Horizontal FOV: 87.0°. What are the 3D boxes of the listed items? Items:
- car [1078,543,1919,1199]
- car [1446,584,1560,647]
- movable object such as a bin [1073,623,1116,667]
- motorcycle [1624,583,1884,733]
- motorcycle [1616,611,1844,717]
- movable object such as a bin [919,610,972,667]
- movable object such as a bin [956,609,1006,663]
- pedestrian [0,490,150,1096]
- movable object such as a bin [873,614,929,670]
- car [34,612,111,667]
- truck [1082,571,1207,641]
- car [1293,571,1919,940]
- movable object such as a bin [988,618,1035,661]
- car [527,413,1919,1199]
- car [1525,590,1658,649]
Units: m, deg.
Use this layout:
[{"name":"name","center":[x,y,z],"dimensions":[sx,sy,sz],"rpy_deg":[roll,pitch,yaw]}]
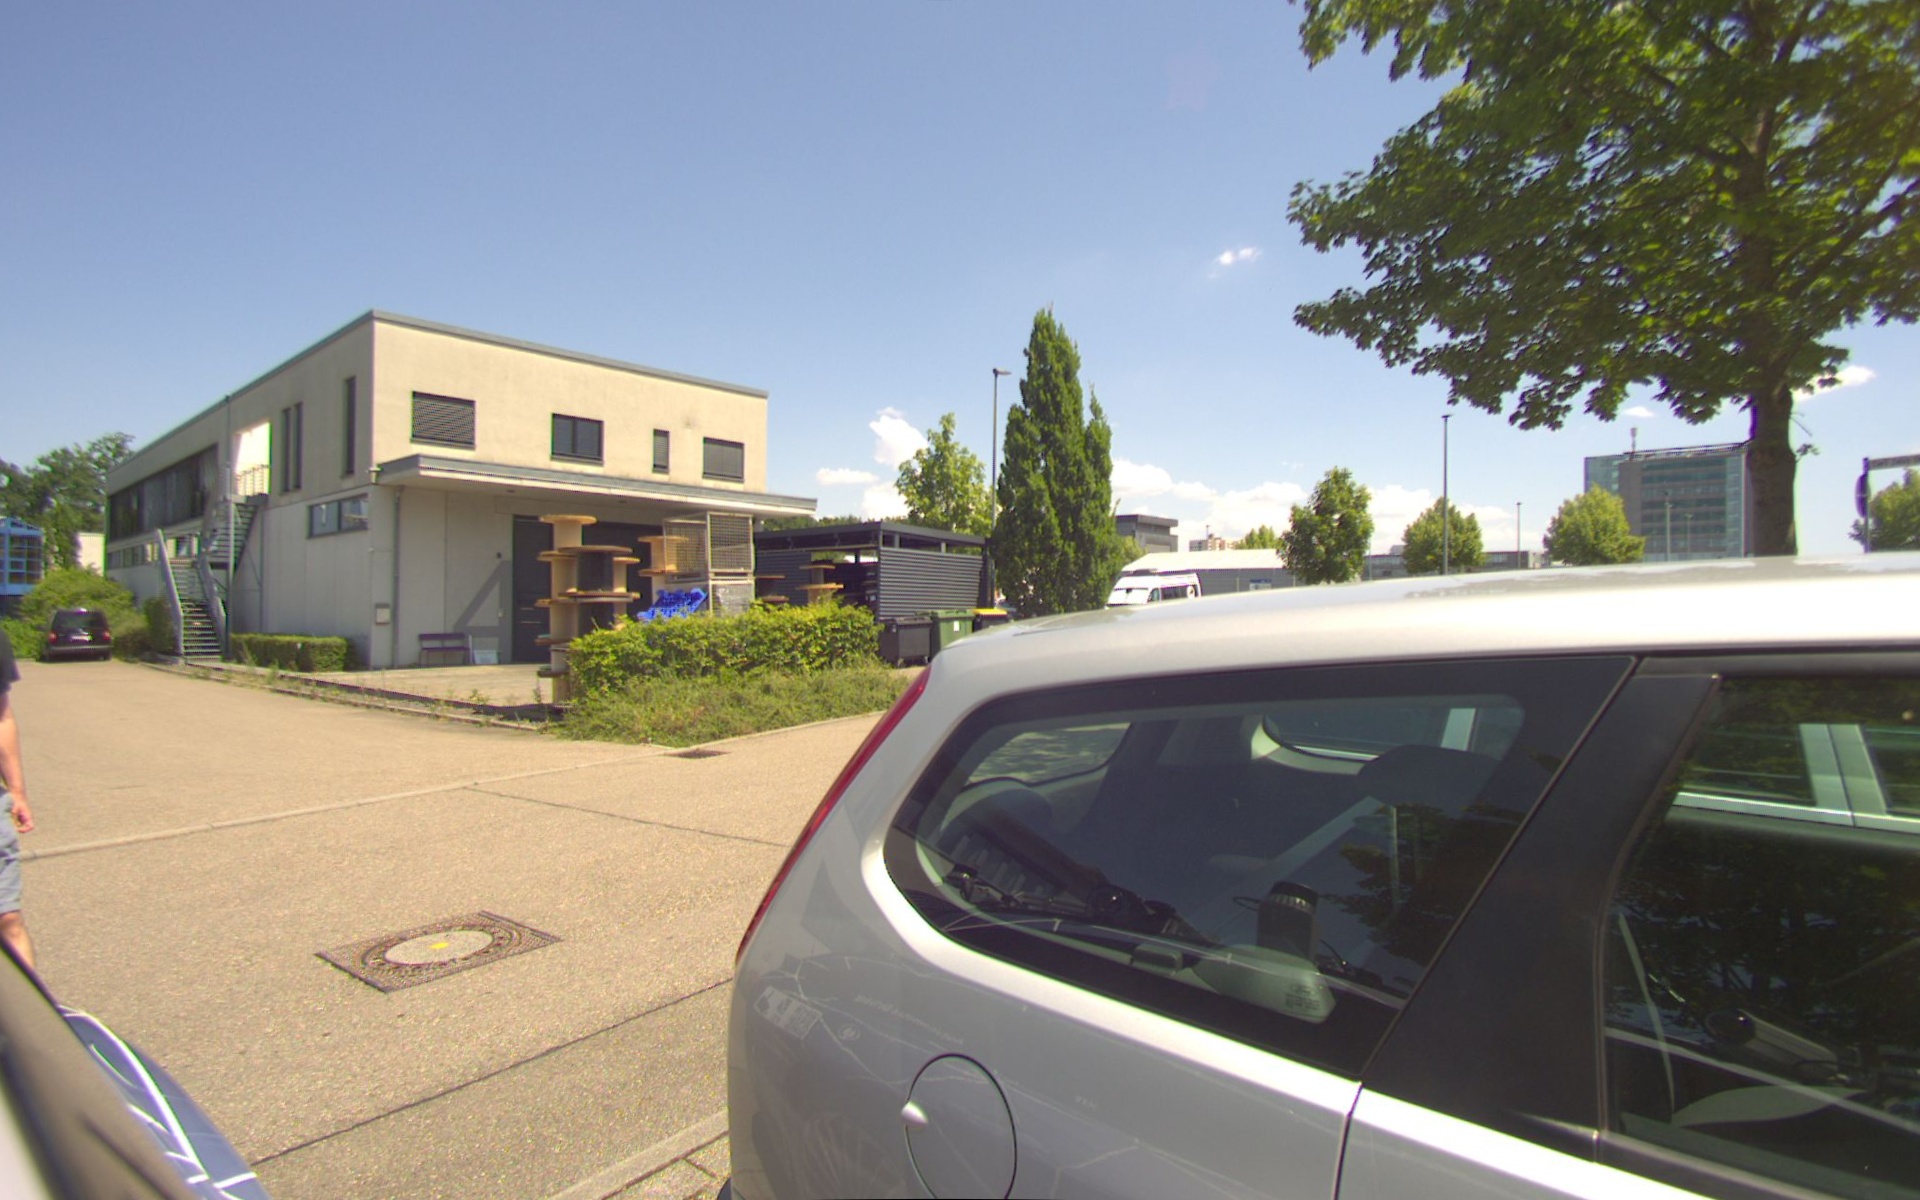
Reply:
[{"name":"car","center":[2.455,0.619,2.975],"dimensions":[3.883,1.490,1.633],"rpy_deg":[-1,0,35]},{"name":"car","center":[16.392,0.431,30.462],"dimensions":[3.939,1.751,1.775],"rpy_deg":[-1,0,-42]},{"name":"movable object such as a bin","center":[3.055,1.014,23.024],"dimensions":[0.581,0.977,0.761],"rpy_deg":[-1,0,-43]},{"name":"motorcycle","center":[7.906,0.565,10.197],"dimensions":[1.985,1.400,0.479],"rpy_deg":[-2,-1,35]},{"name":"motorcycle","center":[8.604,0.700,11.423],"dimensions":[1.985,1.117,0.479],"rpy_deg":[-2,-1,35]},{"name":"movable object such as a bin","center":[-0.360,0.939,24.889],"dimensions":[1.056,1.346,0.761],"rpy_deg":[-1,0,-43]},{"name":"movable object such as a bin","center":[0.538,0.904,25.877],"dimensions":[1.056,1.346,0.761],"rpy_deg":[-1,0,-43]},{"name":"pedestrian","center":[-3.340,0.591,3.204],"dimensions":[0.897,1.834,0.856],"rpy_deg":[-1,-1,17]},{"name":"movable object such as a bin","center":[-1.402,0.983,24.064],"dimensions":[1.056,1.280,0.761],"rpy_deg":[-1,0,-43]},{"name":"car","center":[-31.311,1.340,35.676],"dimensions":[4.002,1.817,1.763],"rpy_deg":[-1,0,45]},{"name":"truck","center":[7.683,0.229,41.785],"dimensions":[2.419,2.692,5.617],"rpy_deg":[-2,-1,43]},{"name":"car","center":[3.841,0.619,4.971],"dimensions":[3.883,1.459,1.633],"rpy_deg":[-1,0,35]},{"name":"movable object such as a bin","center":[1.360,1.021,26.595],"dimensions":[0.973,1.092,0.761],"rpy_deg":[-1,0,-43]},{"name":"car","center":[1.599,0.625,0.812],"dimensions":[4.342,1.490,1.703],"rpy_deg":[-1,0,38]},{"name":"car","center":[17.682,0.510,28.305],"dimensions":[3.933,1.533,1.658],"rpy_deg":[-1,0,-33]}]
